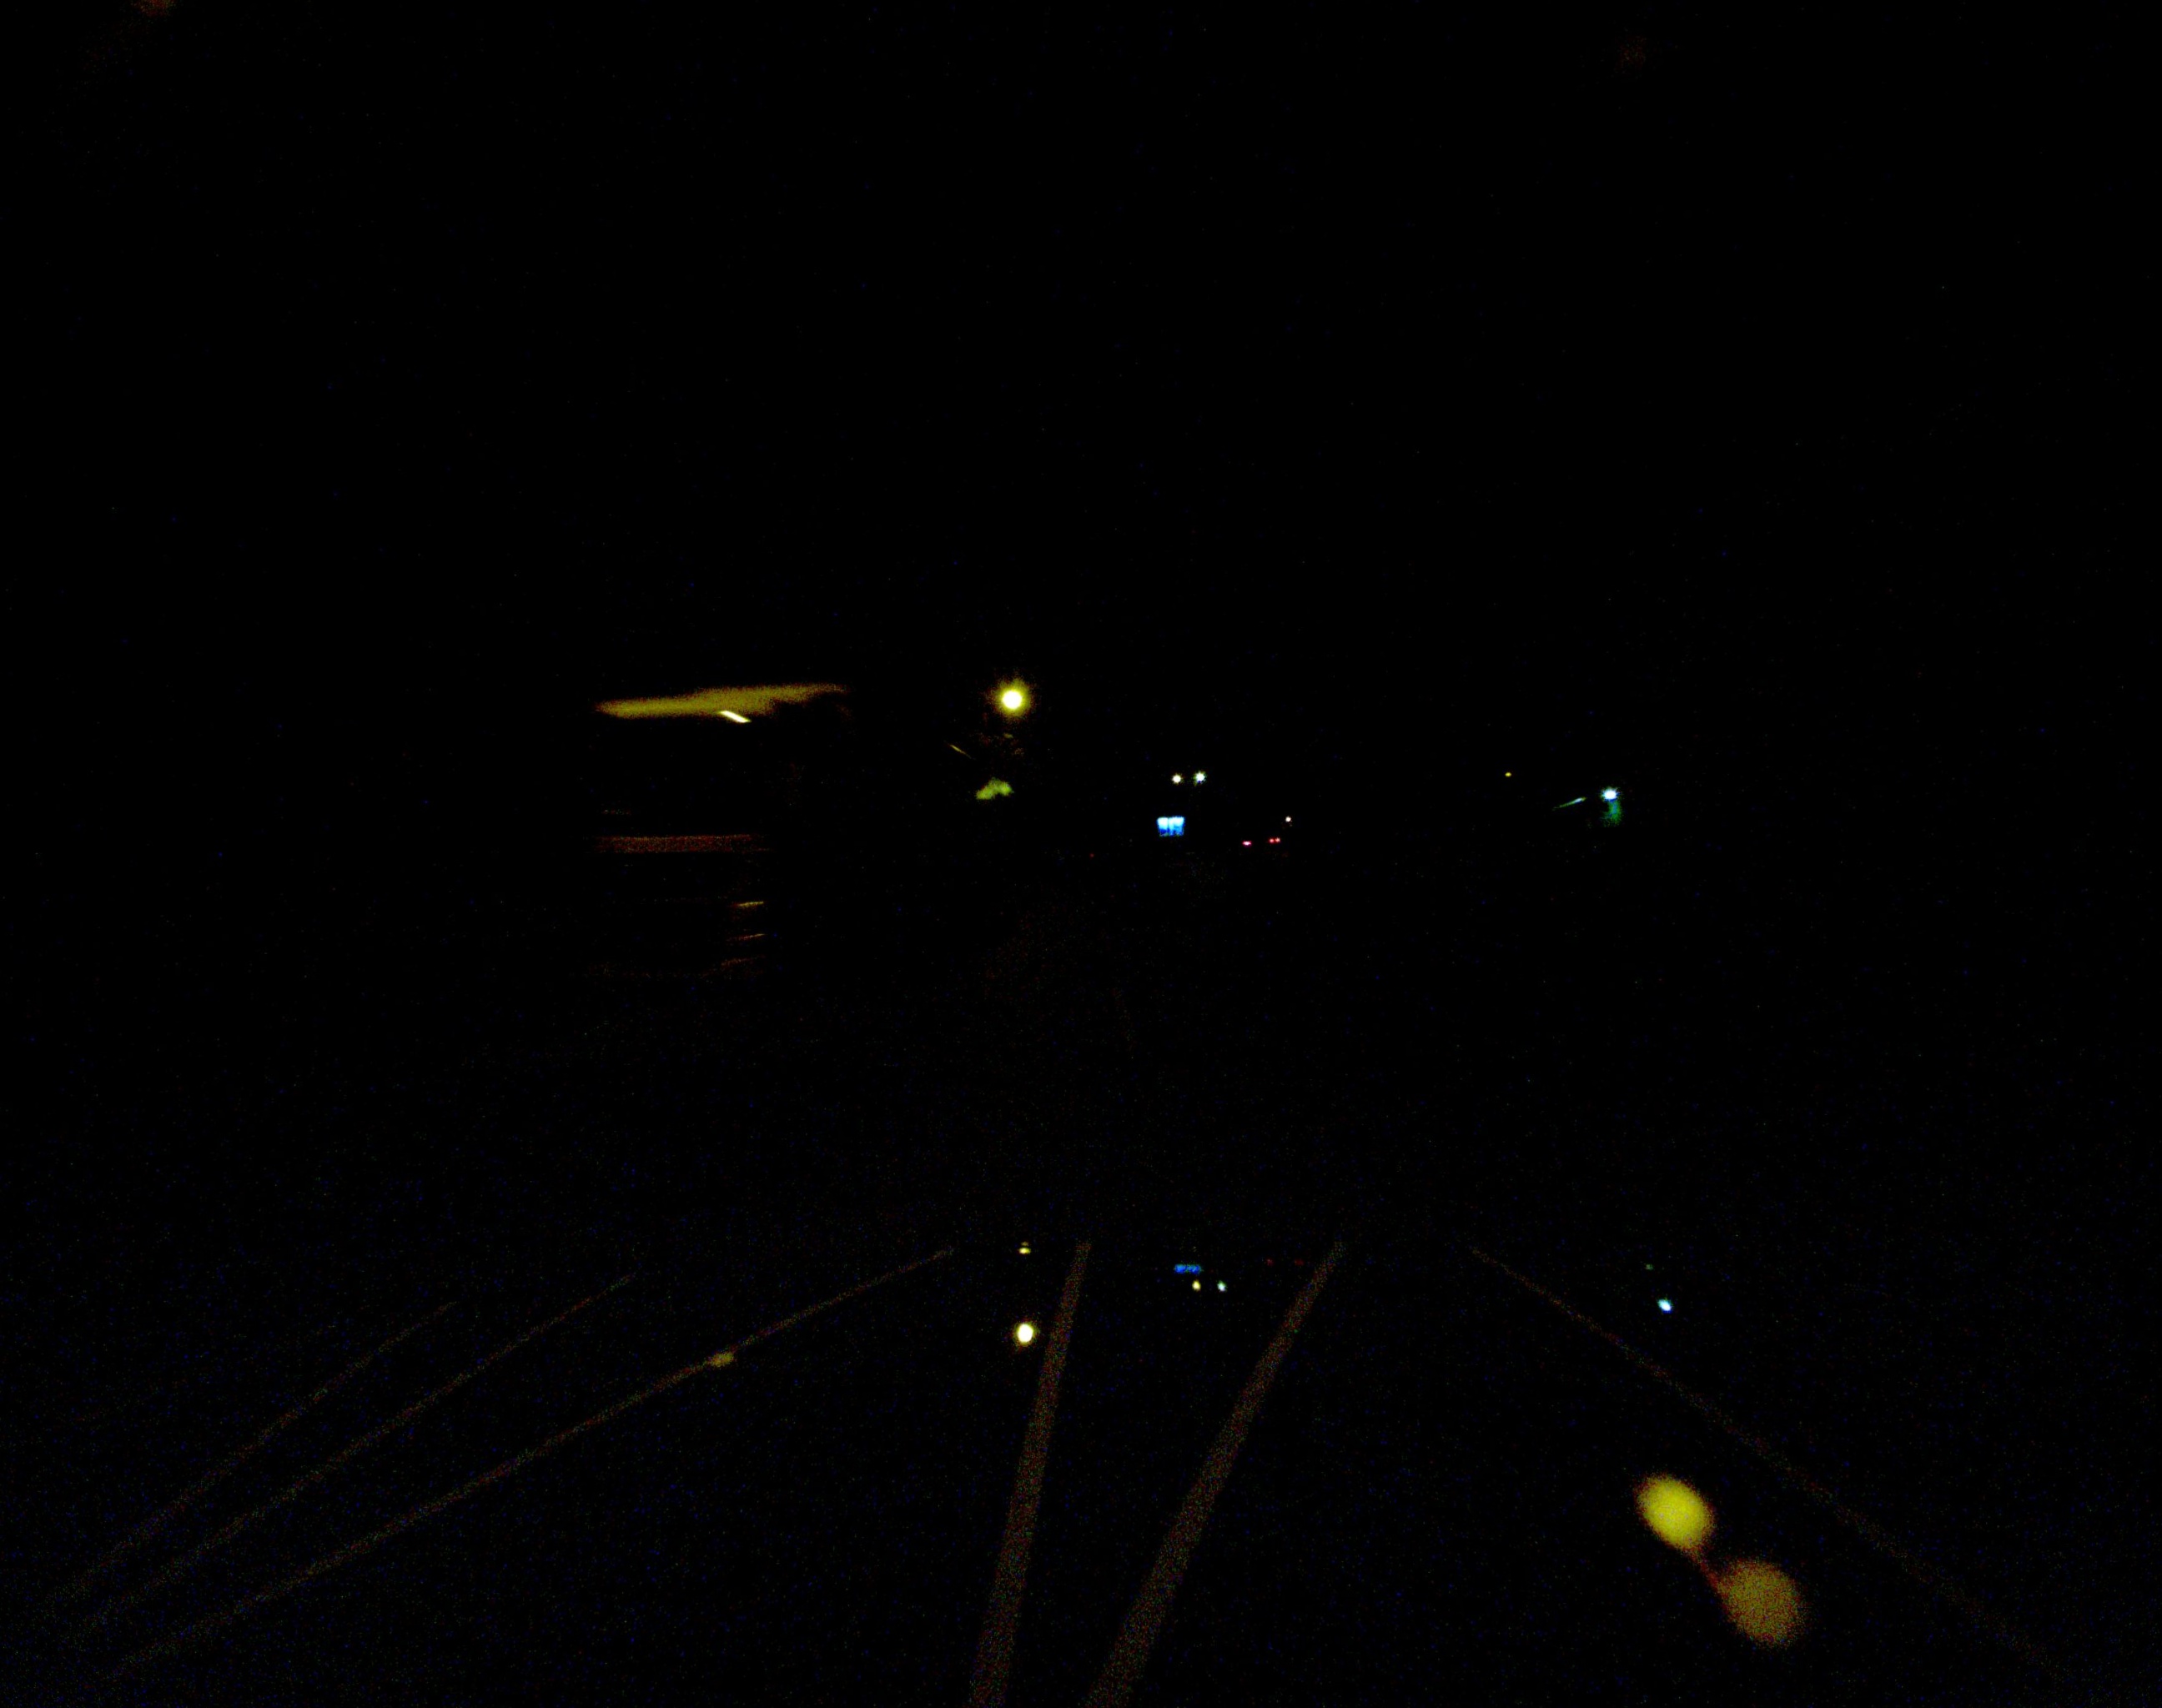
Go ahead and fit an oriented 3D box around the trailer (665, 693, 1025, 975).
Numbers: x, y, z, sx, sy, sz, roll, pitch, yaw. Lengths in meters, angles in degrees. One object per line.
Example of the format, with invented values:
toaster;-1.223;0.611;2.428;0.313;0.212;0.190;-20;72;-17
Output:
trailer;-3.935;-0.311;17.878;2.814;3.960;13.979;-2;0;5

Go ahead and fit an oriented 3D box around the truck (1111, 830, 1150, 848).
truck;7.773;-2.345;119.637;5.538;2.585;2.474;-3;2;15

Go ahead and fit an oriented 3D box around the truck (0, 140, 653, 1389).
truck;-4.926;-0.241;0.540;2.837;3.960;10.342;-2;1;3

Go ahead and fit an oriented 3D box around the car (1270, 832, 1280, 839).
car;44.034;-4.268;172.457;1.851;1.437;4.919;-3;1;13

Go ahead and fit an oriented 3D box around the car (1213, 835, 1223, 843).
car;28.596;-3.140;159.138;1.938;1.543;4.002;-3;1;10

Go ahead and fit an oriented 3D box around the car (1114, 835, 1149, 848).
car;8.130;-2.050;122.202;5.080;1.826;1.991;-3;2;19

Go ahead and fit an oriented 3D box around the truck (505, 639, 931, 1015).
truck;-4.522;-0.303;11.207;2.836;3.960;6.051;-2;1;5

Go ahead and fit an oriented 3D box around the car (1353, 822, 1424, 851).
car;21.180;-1.200;52.539;4.134;1.762;2.001;-3;1;8

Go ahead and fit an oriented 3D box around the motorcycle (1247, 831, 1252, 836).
motorcycle;45.326;-5.532;204.524;0.999;1.297;2.828;-3;1;10

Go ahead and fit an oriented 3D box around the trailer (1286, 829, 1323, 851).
trailer;27.829;-1.733;94.724;4.354;2.705;2.002;0;2;15

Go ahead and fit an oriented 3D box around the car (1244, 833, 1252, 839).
car;49.775;-5.352;225.949;1.996;1.618;4.756;-3;1;16

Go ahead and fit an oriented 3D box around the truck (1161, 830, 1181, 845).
truck;16.065;-2.982;135.288;2.381;2.271;7.750;-3;1;15

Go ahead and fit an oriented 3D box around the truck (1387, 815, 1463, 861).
truck;15.882;-0.749;35.378;1.997;1.889;5.320;-3;1;11

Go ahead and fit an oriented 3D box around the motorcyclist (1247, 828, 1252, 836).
motorcyclist;45.255;-5.921;204.202;1.136;1.889;0.834;-3;2;10
